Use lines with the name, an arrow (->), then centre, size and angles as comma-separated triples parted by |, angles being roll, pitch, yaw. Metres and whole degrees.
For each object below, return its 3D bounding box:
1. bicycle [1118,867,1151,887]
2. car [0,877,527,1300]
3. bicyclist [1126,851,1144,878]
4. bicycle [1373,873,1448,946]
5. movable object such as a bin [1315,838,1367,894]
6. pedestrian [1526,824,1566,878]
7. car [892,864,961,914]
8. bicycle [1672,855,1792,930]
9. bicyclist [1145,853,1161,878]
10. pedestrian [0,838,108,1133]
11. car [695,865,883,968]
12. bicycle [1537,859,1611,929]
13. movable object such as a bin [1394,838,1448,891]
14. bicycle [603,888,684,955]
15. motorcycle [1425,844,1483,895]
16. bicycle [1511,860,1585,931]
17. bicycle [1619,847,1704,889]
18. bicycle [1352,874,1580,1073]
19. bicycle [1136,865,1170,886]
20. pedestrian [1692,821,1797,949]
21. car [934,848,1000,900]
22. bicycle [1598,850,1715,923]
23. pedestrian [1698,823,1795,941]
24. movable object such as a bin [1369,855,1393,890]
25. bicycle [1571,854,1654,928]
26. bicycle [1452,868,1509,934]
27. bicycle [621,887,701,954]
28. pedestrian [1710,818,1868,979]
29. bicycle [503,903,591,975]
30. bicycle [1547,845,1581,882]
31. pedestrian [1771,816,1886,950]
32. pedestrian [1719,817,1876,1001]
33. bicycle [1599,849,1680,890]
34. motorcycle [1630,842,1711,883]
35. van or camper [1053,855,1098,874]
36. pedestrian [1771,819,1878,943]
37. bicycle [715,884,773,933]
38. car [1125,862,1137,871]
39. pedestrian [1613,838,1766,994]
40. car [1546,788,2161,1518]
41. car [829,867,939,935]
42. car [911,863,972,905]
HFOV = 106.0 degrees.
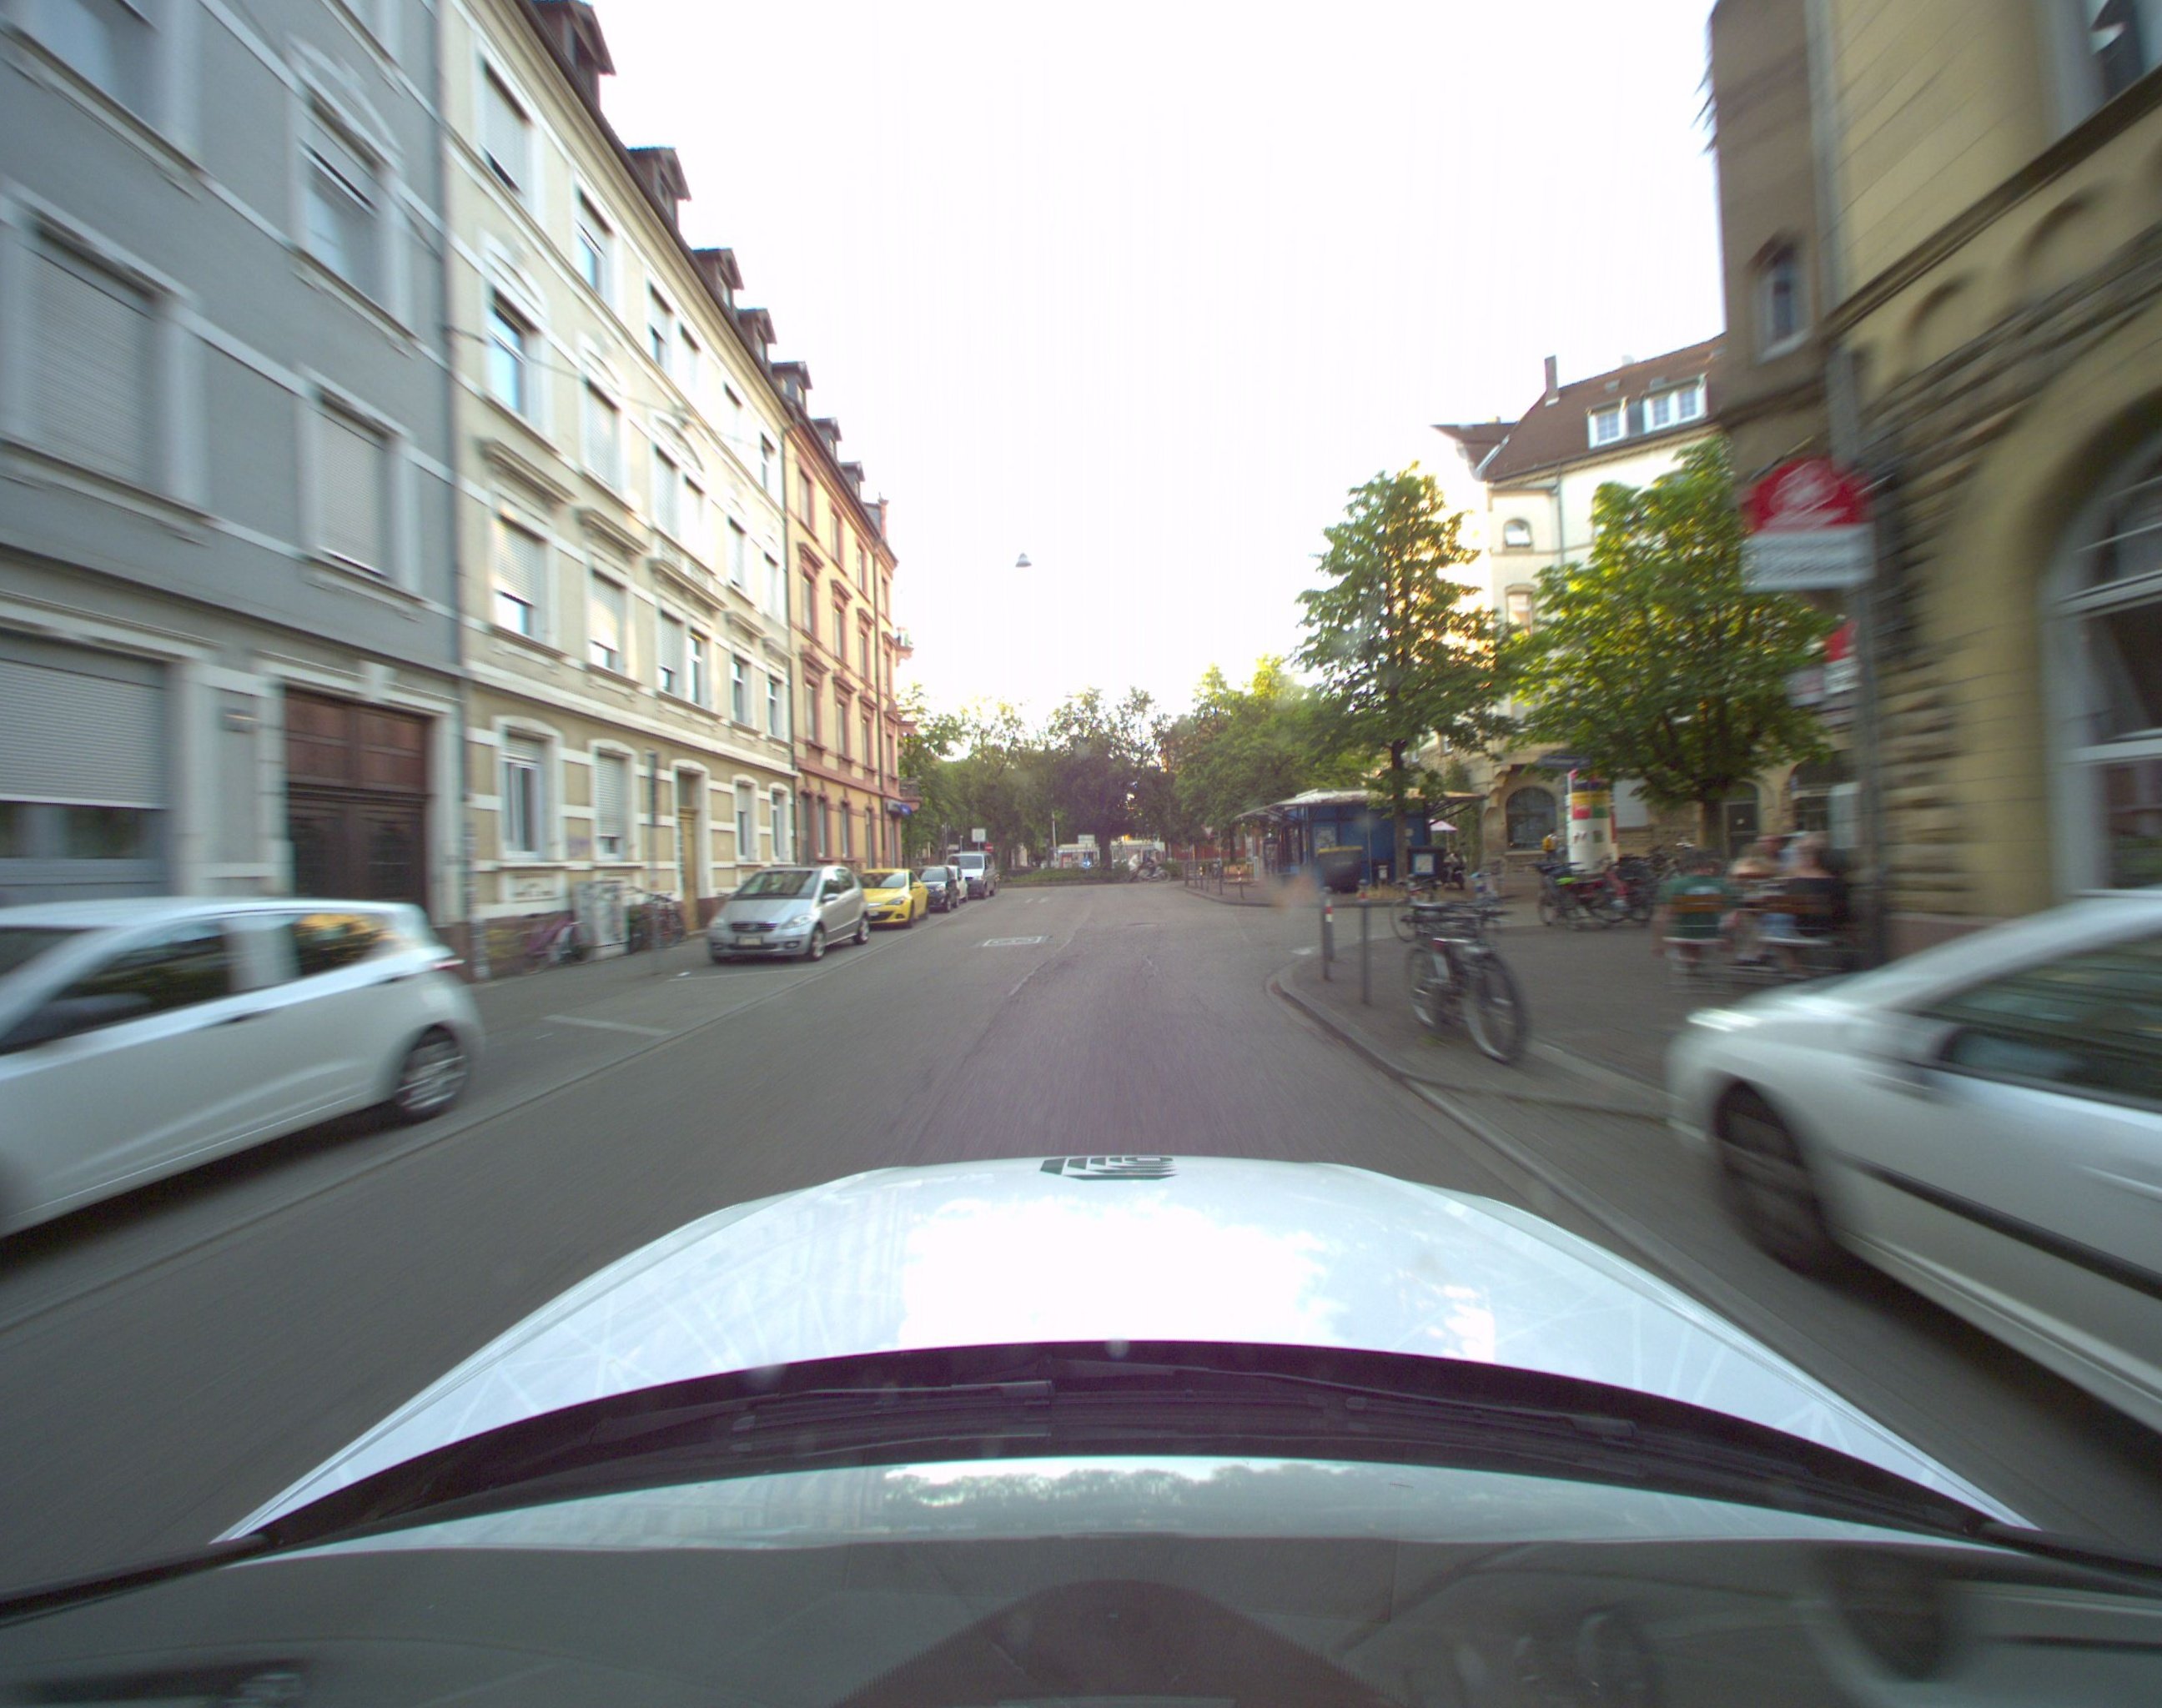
bicycle -> 3.169, 1.367, 47.922 | 1.825, 1.070, 0.708 | -3, -1, -4
car -> -5.038, 0.947, 4.098 | 1.747, 1.576, 3.928 | 0, 0, 1
bicyclist -> 3.147, 0.610, 47.936 | 0.914, 1.502, 0.708 | -2, -1, -4
bicycle -> 5.211, 0.852, 12.847 | 1.483, 1.039, 0.427 | -2, -2, -41
movable object such as a bin -> 7.550, 0.344, 23.674 | 1.214, 1.475, 0.768 | -5, -1, 9
pedestrian -> 16.031, -0.099, 28.066 | 0.967, 1.789, 1.012 | -4, -2, 38
car -> -4.986, 1.073, 26.670 | 1.725, 1.491, 3.738 | -1, -1, -3
bicycle -> 10.966, 0.633, 13.730 | 1.831, 1.161, 0.536 | -2, -1, -14
bicyclist -> 4.002, 0.661, 45.516 | 0.734, 1.359, 0.708 | -3, -1, -3
pedestrian -> -7.577, 0.884, 5.548 | 0.845, 1.949, 0.834 | -3, -1, 4
car -> -5.090, 1.006, 14.861 | 1.793, 1.593, 4.147 | 0, 0, 2
bicycle -> 8.165, 0.628, 13.555 | 0.471, 1.070, 1.841 | -3, -1, 13
movable object such as a bin -> 9.842, 0.286, 23.639 | 1.274, 1.475, 0.822 | 1, 0, 9
bicycle -> -8.437, 1.274, 15.784 | 0.478, 1.140, 1.864 | -3, 0, 2
motorcycle -> 11.240, 0.460, 24.618 | 0.864, 1.453, 1.883 | -3, 0, 2
bicycle -> 7.620, 0.641, 13.357 | 0.508, 1.067, 1.841 | -3, -1, 13
bicycle -> 14.977, 0.361, 21.028 | 1.727, 0.996, 0.579 | -3, -1, 1
bicycle -> 2.781, 0.782, 6.197 | 0.682, 1.151, 2.116 | -5, 0, 2
bicycle -> 4.015, 1.211, 45.498 | 1.824, 1.070, 0.708 | -3, -1, -4
pedestrian -> 7.809, 0.365, 9.587 | 0.830, 1.397, 1.111 | -5, -3, 41
car -> -4.872, 0.828, 35.473 | 2.033, 2.057, 5.005 | -1, -1, 1
bicycle -> 9.957, 0.539, 14.089 | 1.831, 1.151, 0.555 | -2, -1, -14
pedestrian -> 8.446, 0.357, 10.326 | 0.830, 1.397, 1.111 | -5, -3, 41
movable object such as a bin -> 8.711, 0.531, 23.687 | 0.478, 1.001, 0.487 | -3, -1, 1
bicycle -> 8.644, 0.561, 13.316 | 0.498, 1.112, 1.841 | -3, -1, 13
bicycle -> 6.568, 0.744, 13.461 | 0.443, 0.979, 1.712 | -3, -1, 13
bicycle -> -8.098, 1.245, 15.782 | 0.478, 1.140, 1.864 | -3, 0, 2
pedestrian -> 6.835, 0.399, 7.867 | 0.902, 1.396, 0.999 | -4, 1, -42
bicycle -> -8.459, 1.321, 12.957 | 0.399, 0.976, 1.464 | -5, 0, -2
bicycle -> 16.433, 0.311, 27.683 | 0.627, 1.188, 1.926 | -4, -2, 40
pedestrian -> 8.335, 0.322, 9.131 | 0.830, 1.397, 1.111 | -5, -3, 41
pedestrian -> 6.134, 0.431, 6.967 | 1.110, 1.396, 0.831 | -4, 0, -43
bicycle -> 14.935, 0.406, 21.789 | 1.727, 0.996, 0.579 | -3, -1, 1
motorcycle -> 16.830, 0.245, 23.270 | 1.820, 1.054, 0.579 | -3, -1, 1
van or camper -> -0.973, 1.831, 137.478 | 7.351, 3.083, 2.669 | -1, -1, -4
pedestrian -> 8.967, 0.323, 9.861 | 0.830, 1.397, 1.111 | -5, -3, 41
bicycle -> -8.330, 1.332, 20.205 | 0.660, 1.070, 1.833 | -3, -1, -2
car -> 9.985, 2.544, 162.852 | 1.987, 1.704, 4.718 | -1, -1, -1
pedestrian -> 5.741, 0.537, 7.663 | 1.427, 1.286, 0.831 | -3, -1, -43
car -> 3.103, 0.575, 1.905 | 1.755, 1.484, 4.471 | -5, 0, 6
car -> -4.993, 1.134, 21.310 | 1.834, 1.526, 4.798 | 0, 0, -2
car -> -5.222, 1.089, 30.926 | 1.678, 1.491, 3.613 | -1, -1, 0
